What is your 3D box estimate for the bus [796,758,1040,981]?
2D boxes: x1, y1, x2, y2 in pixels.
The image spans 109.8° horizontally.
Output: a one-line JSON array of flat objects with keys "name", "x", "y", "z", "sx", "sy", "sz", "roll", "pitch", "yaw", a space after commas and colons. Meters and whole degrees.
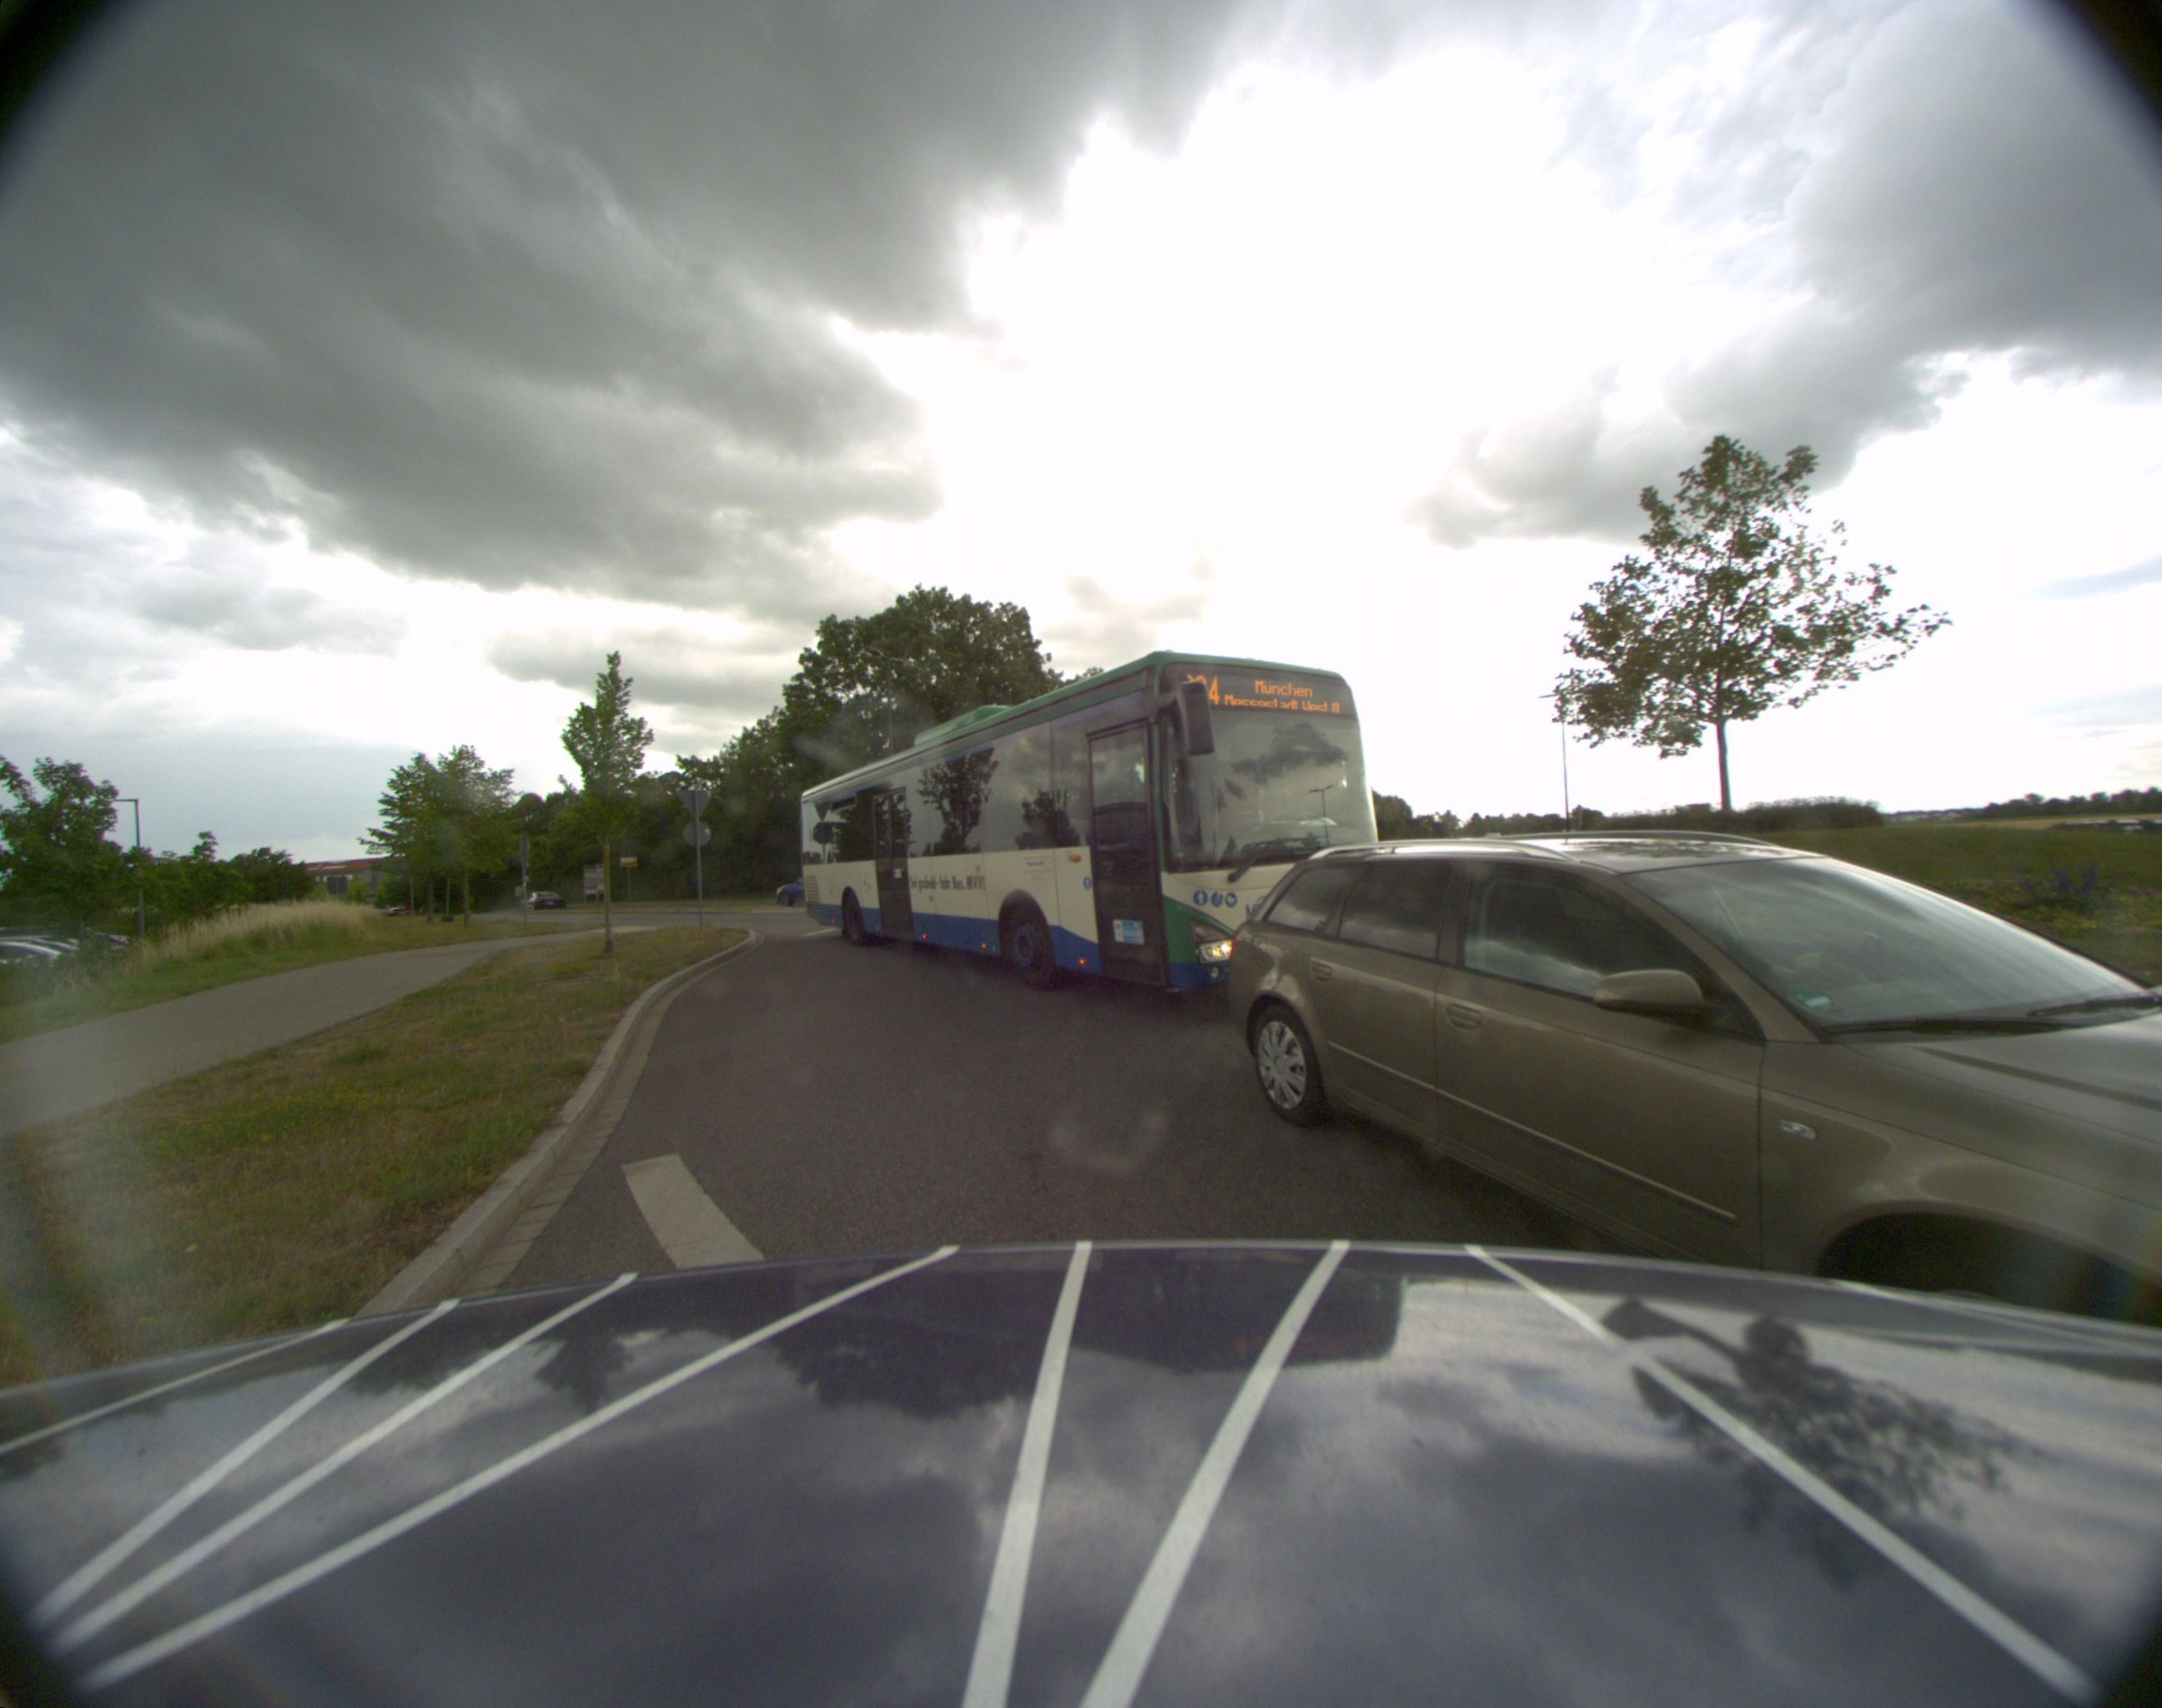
[{"name": "bus", "x": -3.254, "y": 0.187, "z": 13.992, "sx": 2.529, "sy": 3.239, "sz": 5.447, "roll": -2, "pitch": 1, "yaw": -33}]

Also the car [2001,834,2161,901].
[{"name": "car", "x": 28.334, "y": 0.349, "z": 20.656, "sx": 1.771, "sy": 1.553, "sz": 4.284, "roll": -7, "pitch": -3, "yaw": 10}]

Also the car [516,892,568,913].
[{"name": "car", "x": -37.274, "y": 3.360, "z": 52.523, "sx": 4.103, "sy": 1.299, "sz": 1.835, "roll": -3, "pitch": -1, "yaw": 39}]

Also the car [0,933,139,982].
[{"name": "car", "x": -39.826, "y": 4.015, "z": 29.404, "sx": 3.896, "sy": 1.455, "sz": 1.693, "roll": -3, "pitch": 0, "yaw": -38}]

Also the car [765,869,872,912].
[{"name": "car", "x": -11.021, "y": 1.553, "z": 31.944, "sx": 4.073, "sy": 1.422, "sz": 1.766, "roll": -5, "pitch": 0, "yaw": 25}]

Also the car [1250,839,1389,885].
[{"name": "car", "x": 9.453, "y": 0.288, "z": 30.030, "sx": 5.292, "sy": 1.489, "sz": 1.969, "roll": -3, "pitch": 0, "yaw": -26}]

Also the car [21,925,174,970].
[{"name": "car", "x": -44.515, "y": 4.195, "z": 34.519, "sx": 3.896, "sy": 1.455, "sz": 1.693, "roll": -3, "pitch": 0, "yaw": -38}]

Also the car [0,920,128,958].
[{"name": "car", "x": -50.858, "y": 4.204, "z": 37.927, "sx": 1.879, "sy": 1.435, "sz": 4.007, "roll": -2, "pitch": 0, "yaw": 37}]

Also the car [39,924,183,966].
[{"name": "car", "x": -46.034, "y": 4.263, "z": 36.192, "sx": 3.896, "sy": 1.455, "sz": 1.693, "roll": -3, "pitch": 0, "yaw": -38}]

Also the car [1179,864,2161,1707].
[{"name": "car", "x": 2.133, "y": 0.792, "z": 2.841, "sx": 1.784, "sy": 1.456, "sz": 4.534, "roll": -2, "pitch": 0, "yaw": -17}]

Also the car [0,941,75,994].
[{"name": "car", "x": -35.310, "y": 3.750, "z": 24.012, "sx": 3.896, "sy": 1.455, "sz": 1.693, "roll": -3, "pitch": 0, "yaw": -38}]

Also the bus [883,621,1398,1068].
[{"name": "bus", "x": 0.019, "y": -0.094, "z": 8.928, "sx": 2.529, "sy": 3.239, "sz": 6.532, "roll": -2, "pitch": 1, "yaw": -33}]

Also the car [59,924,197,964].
[{"name": "car", "x": -46.982, "y": 4.392, "z": 37.595, "sx": 3.896, "sy": 1.455, "sz": 1.693, "roll": -3, "pitch": 0, "yaw": -38}]

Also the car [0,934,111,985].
[{"name": "car", "x": -37.889, "y": 3.813, "z": 26.975, "sx": 3.896, "sy": 1.455, "sz": 1.693, "roll": -3, "pitch": 0, "yaw": -38}]

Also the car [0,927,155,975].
[{"name": "car", "x": -41.973, "y": 3.999, "z": 31.695, "sx": 3.896, "sy": 1.455, "sz": 1.693, "roll": -3, "pitch": 0, "yaw": -38}]

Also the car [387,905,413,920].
[{"name": "car", "x": -78.185, "y": 6.714, "z": 87.269, "sx": 3.572, "sy": 1.496, "sz": 1.647, "roll": -3, "pitch": 0, "yaw": 40}]
